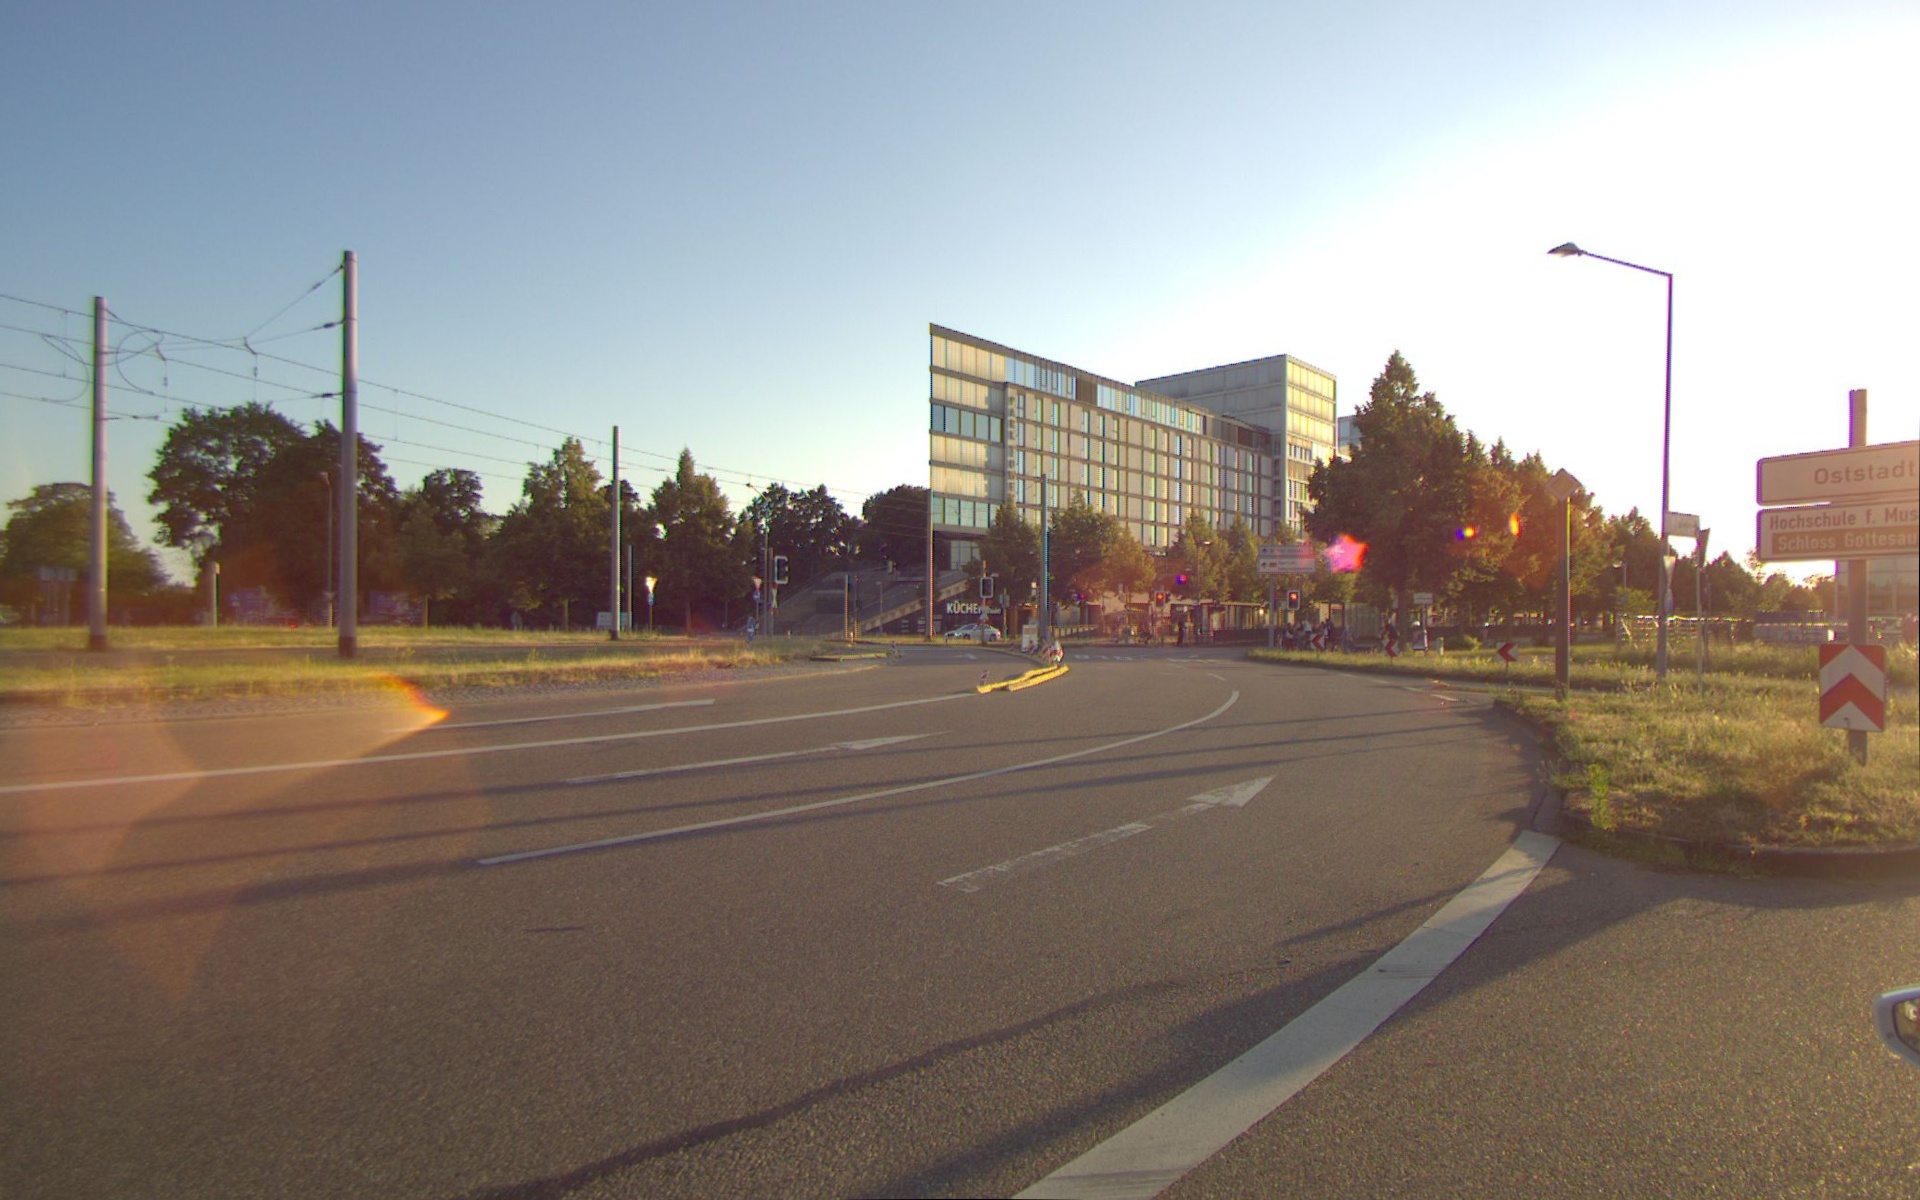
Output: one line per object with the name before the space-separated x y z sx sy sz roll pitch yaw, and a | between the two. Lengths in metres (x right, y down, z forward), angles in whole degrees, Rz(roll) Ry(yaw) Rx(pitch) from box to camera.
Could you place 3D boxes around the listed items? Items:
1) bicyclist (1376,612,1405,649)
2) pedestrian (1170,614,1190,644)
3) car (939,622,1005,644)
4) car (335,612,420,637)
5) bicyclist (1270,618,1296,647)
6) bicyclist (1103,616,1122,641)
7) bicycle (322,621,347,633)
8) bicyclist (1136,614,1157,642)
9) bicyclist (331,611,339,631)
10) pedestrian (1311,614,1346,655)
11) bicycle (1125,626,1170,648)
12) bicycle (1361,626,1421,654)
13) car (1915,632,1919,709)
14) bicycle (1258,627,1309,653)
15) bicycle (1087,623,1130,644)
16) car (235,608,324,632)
bicyclist | 19.208 1.337 44.811 0.748 1.634 0.966 1 -1 -40
pedestrian | 12.907 1.685 58.856 0.874 1.730 0.791 0 -1 38
car | 0.964 2.475 75.583 1.973 1.565 5.169 0 -1 45
car | -35.069 1.476 60.513 4.233 1.451 1.946 0 -1 14
bicyclist | 15.611 1.560 48.543 0.748 1.412 0.968 1 -1 -38
bicyclist | 8.800 1.623 58.060 0.865 1.411 0.752 0 -1 34
bicycle | -43.014 1.868 69.076 1.404 0.802 0.469 1 -1 -35
bicyclist | 10.537 1.580 56.755 0.961 1.545 0.753 0 -1 31
bicyclist | -42.997 1.445 69.078 0.443 1.416 0.469 1 -1 -34
pedestrian | 17.014 1.593 46.398 0.966 1.851 1.155 1 -1 -24
bicycle | 10.593 2.084 56.699 2.367 1.182 0.753 0 -1 32
bicycle | 19.217 1.758 44.829 0.748 1.182 2.382 1 -1 -39
car | 19.957 1.312 17.427 4.577 1.472 2.070 -1 -1 33
bicycle | 15.618 1.936 48.562 0.748 1.182 2.384 1 -1 -37
bicycle | 8.576 1.946 58.150 2.369 1.182 0.752 0 -1 35
car | -42.219 1.250 62.343 4.502 1.451 1.946 0 -1 12
